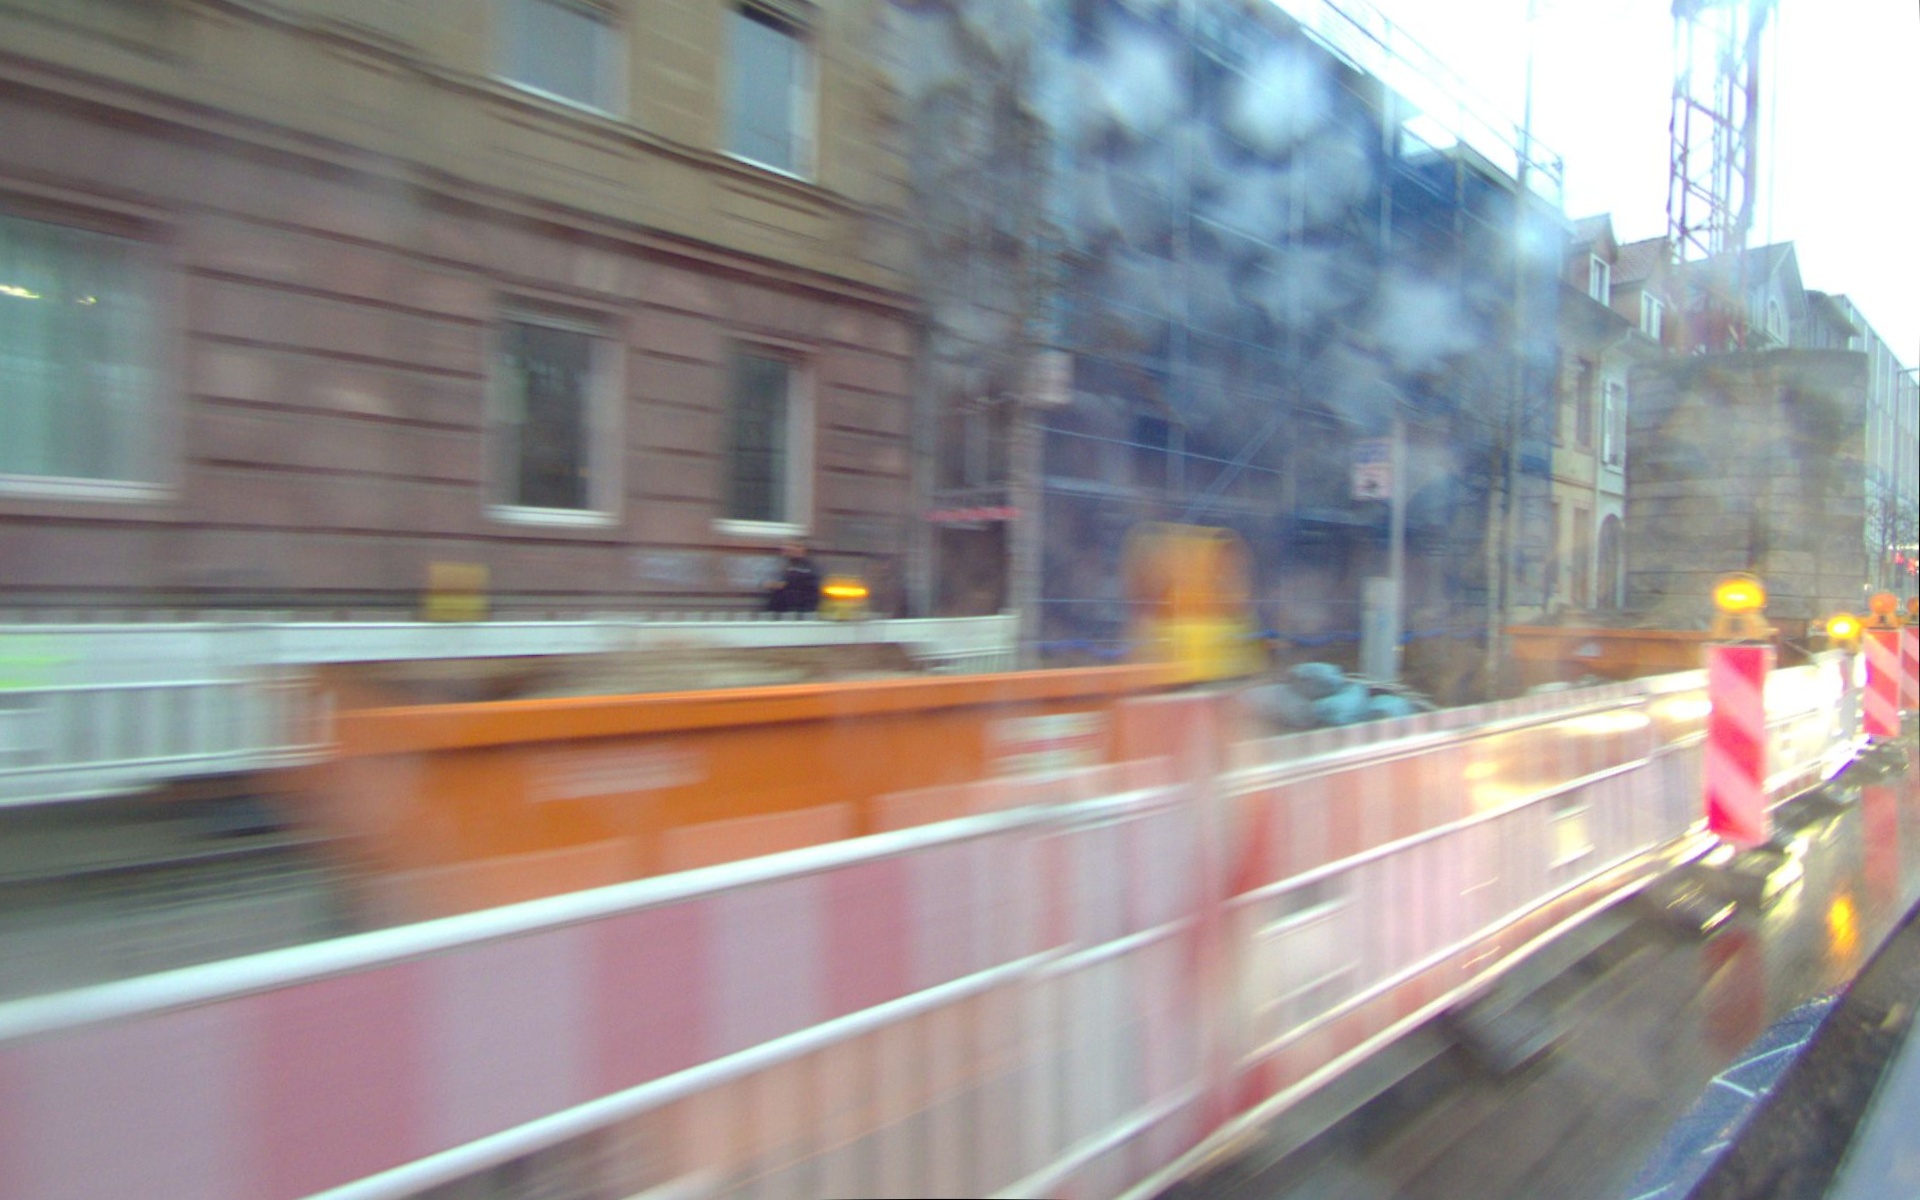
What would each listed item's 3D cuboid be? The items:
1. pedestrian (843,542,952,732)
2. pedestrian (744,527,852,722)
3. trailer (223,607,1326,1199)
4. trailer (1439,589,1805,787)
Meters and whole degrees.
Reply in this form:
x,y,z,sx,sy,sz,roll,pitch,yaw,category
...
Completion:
x,y,z,sx,sy,sz,roll,pitch,yaw,category
-0.582,0.310,9.276,0.639,1.641,0.712,1,3,-41,pedestrian
-1.515,0.205,9.473,0.714,1.731,0.643,1,3,-41,pedestrian
-0.443,0.748,3.663,3.466,1.362,1.854,0,2,-41,trailer
6.848,0.695,10.235,4.762,1.508,1.839,0,2,-41,trailer
